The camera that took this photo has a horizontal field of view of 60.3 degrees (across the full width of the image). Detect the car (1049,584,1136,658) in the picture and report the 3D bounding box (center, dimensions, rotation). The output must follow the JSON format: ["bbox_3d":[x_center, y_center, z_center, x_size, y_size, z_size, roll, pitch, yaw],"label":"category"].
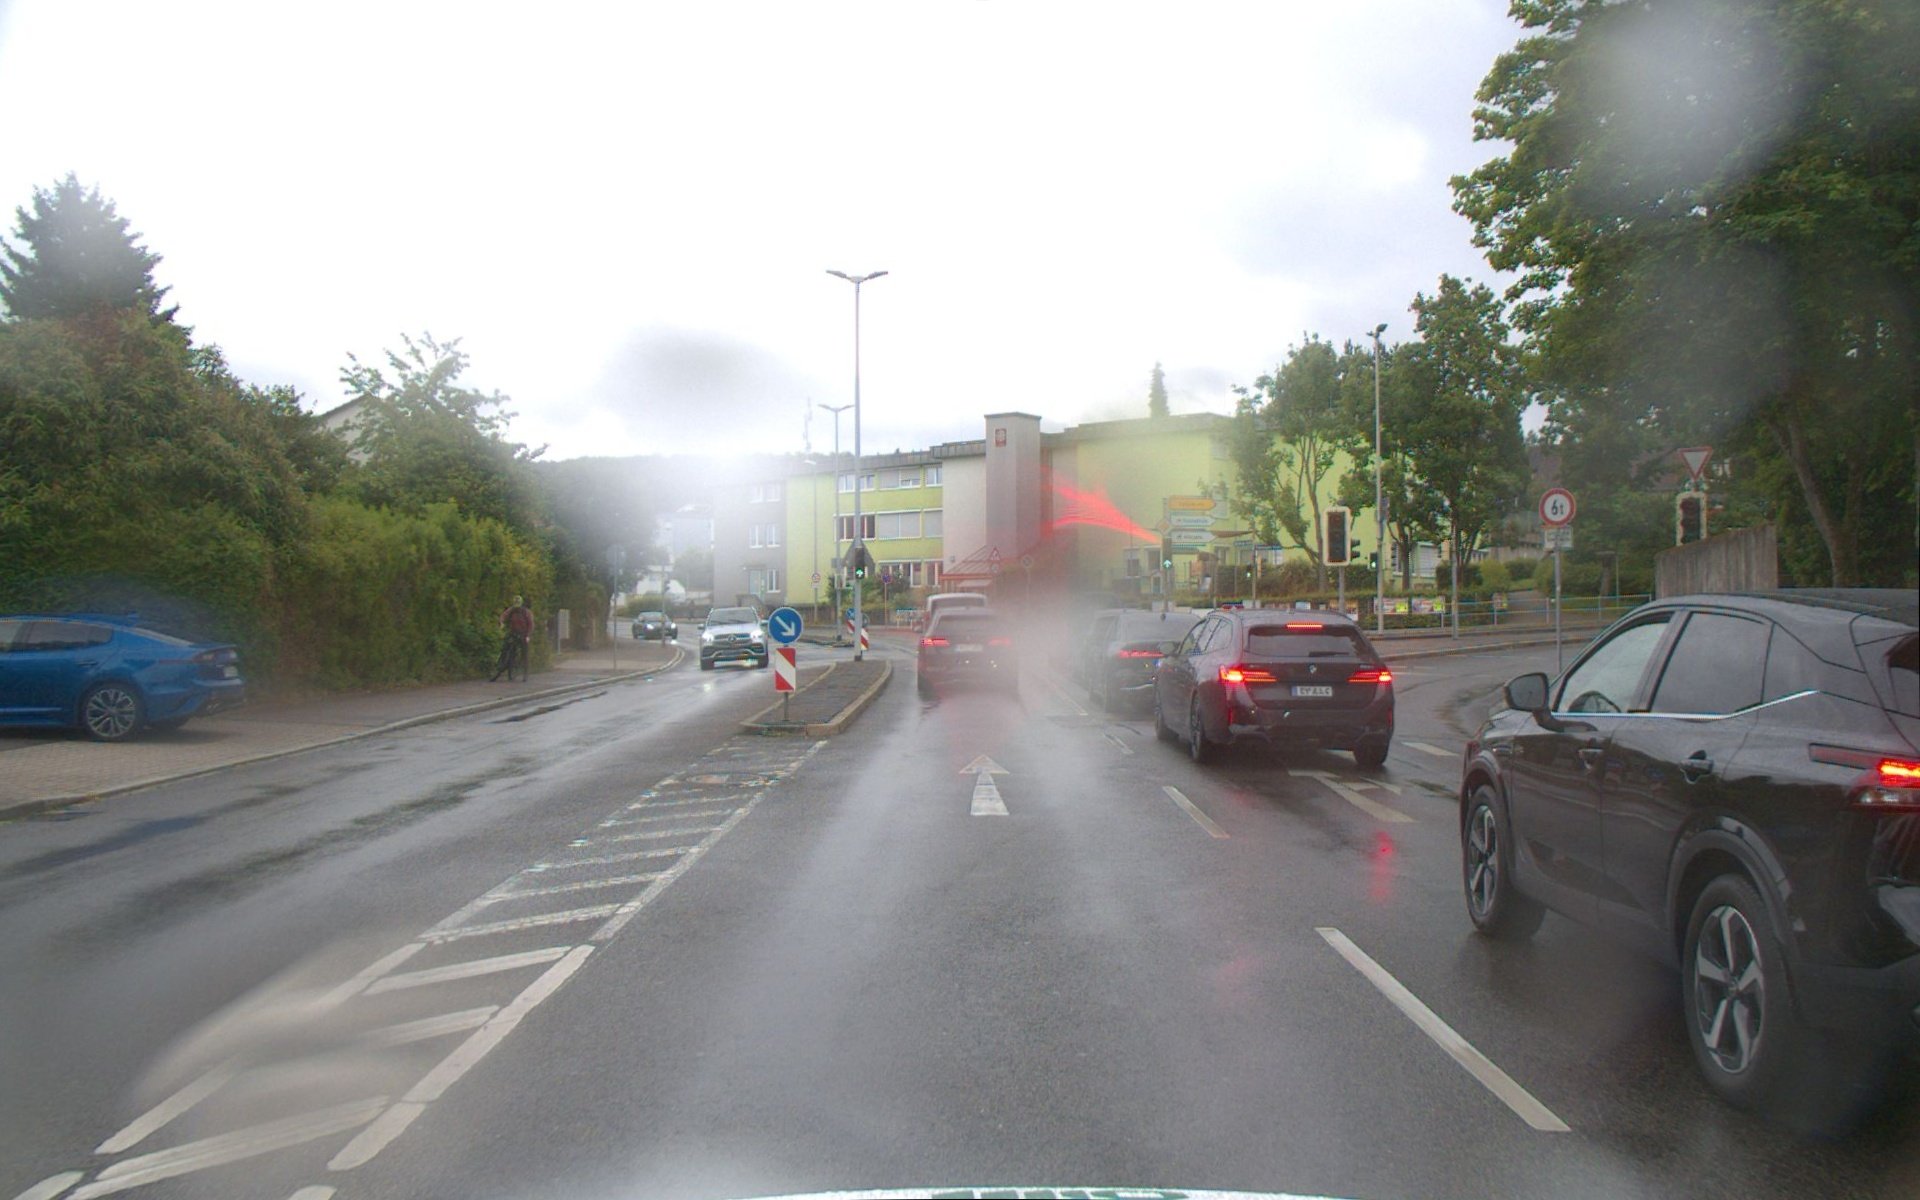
[{"bbox_3d":[3.260,0.489,41.366,1.747,1.764,4.085,0,0,-1],"label":"car"}]

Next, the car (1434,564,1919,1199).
[{"bbox_3d":[3.298,0.702,6.399,1.753,1.631,4.254,0,2,1],"label":"car"}]

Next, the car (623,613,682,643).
[{"bbox_3d":[-17.424,1.581,93.694,1.777,1.515,4.104,-3,0,-34],"label":"car"}]

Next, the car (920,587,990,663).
[{"bbox_3d":[-0.166,0.604,43.038,1.682,1.877,4.085,0,0,-2],"label":"car"}]

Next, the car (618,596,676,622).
[{"bbox_3d":[-25.070,0.711,132.569,4.326,1.802,1.990,-3,0,-17],"label":"car"}]

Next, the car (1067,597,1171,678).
[{"bbox_3d":[3.183,0.717,33.824,1.811,1.512,4.087,-2,0,2],"label":"car"}]

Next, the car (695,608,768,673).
[{"bbox_3d":[-6.817,1.156,49.397,2.003,1.746,4.473,-2,0,-8],"label":"car"}]

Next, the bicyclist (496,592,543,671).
[{"bbox_3d":[-9.301,0.660,34.949,0.749,1.640,0.868,0,-1,-2],"label":"bicyclist"}]

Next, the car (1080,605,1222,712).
[{"bbox_3d":[2.845,0.831,25.498,1.671,1.452,4.508,-1,0,0],"label":"car"}]

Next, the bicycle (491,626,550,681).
[{"bbox_3d":[-9.303,1.122,35.071,0.732,1.105,1.988,1,-1,-1],"label":"bicycle"}]

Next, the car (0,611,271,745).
[{"bbox_3d":[-10.574,0.864,19.191,4.397,1.386,1.803,1,1,-7],"label":"car"}]

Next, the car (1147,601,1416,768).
[{"bbox_3d":[3.213,0.772,17.522,1.866,1.484,4.777,-1,0,-1],"label":"car"}]

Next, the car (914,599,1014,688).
[{"bbox_3d":[0.026,0.778,31.369,1.649,1.532,3.771,-2,0,-3],"label":"car"}]
